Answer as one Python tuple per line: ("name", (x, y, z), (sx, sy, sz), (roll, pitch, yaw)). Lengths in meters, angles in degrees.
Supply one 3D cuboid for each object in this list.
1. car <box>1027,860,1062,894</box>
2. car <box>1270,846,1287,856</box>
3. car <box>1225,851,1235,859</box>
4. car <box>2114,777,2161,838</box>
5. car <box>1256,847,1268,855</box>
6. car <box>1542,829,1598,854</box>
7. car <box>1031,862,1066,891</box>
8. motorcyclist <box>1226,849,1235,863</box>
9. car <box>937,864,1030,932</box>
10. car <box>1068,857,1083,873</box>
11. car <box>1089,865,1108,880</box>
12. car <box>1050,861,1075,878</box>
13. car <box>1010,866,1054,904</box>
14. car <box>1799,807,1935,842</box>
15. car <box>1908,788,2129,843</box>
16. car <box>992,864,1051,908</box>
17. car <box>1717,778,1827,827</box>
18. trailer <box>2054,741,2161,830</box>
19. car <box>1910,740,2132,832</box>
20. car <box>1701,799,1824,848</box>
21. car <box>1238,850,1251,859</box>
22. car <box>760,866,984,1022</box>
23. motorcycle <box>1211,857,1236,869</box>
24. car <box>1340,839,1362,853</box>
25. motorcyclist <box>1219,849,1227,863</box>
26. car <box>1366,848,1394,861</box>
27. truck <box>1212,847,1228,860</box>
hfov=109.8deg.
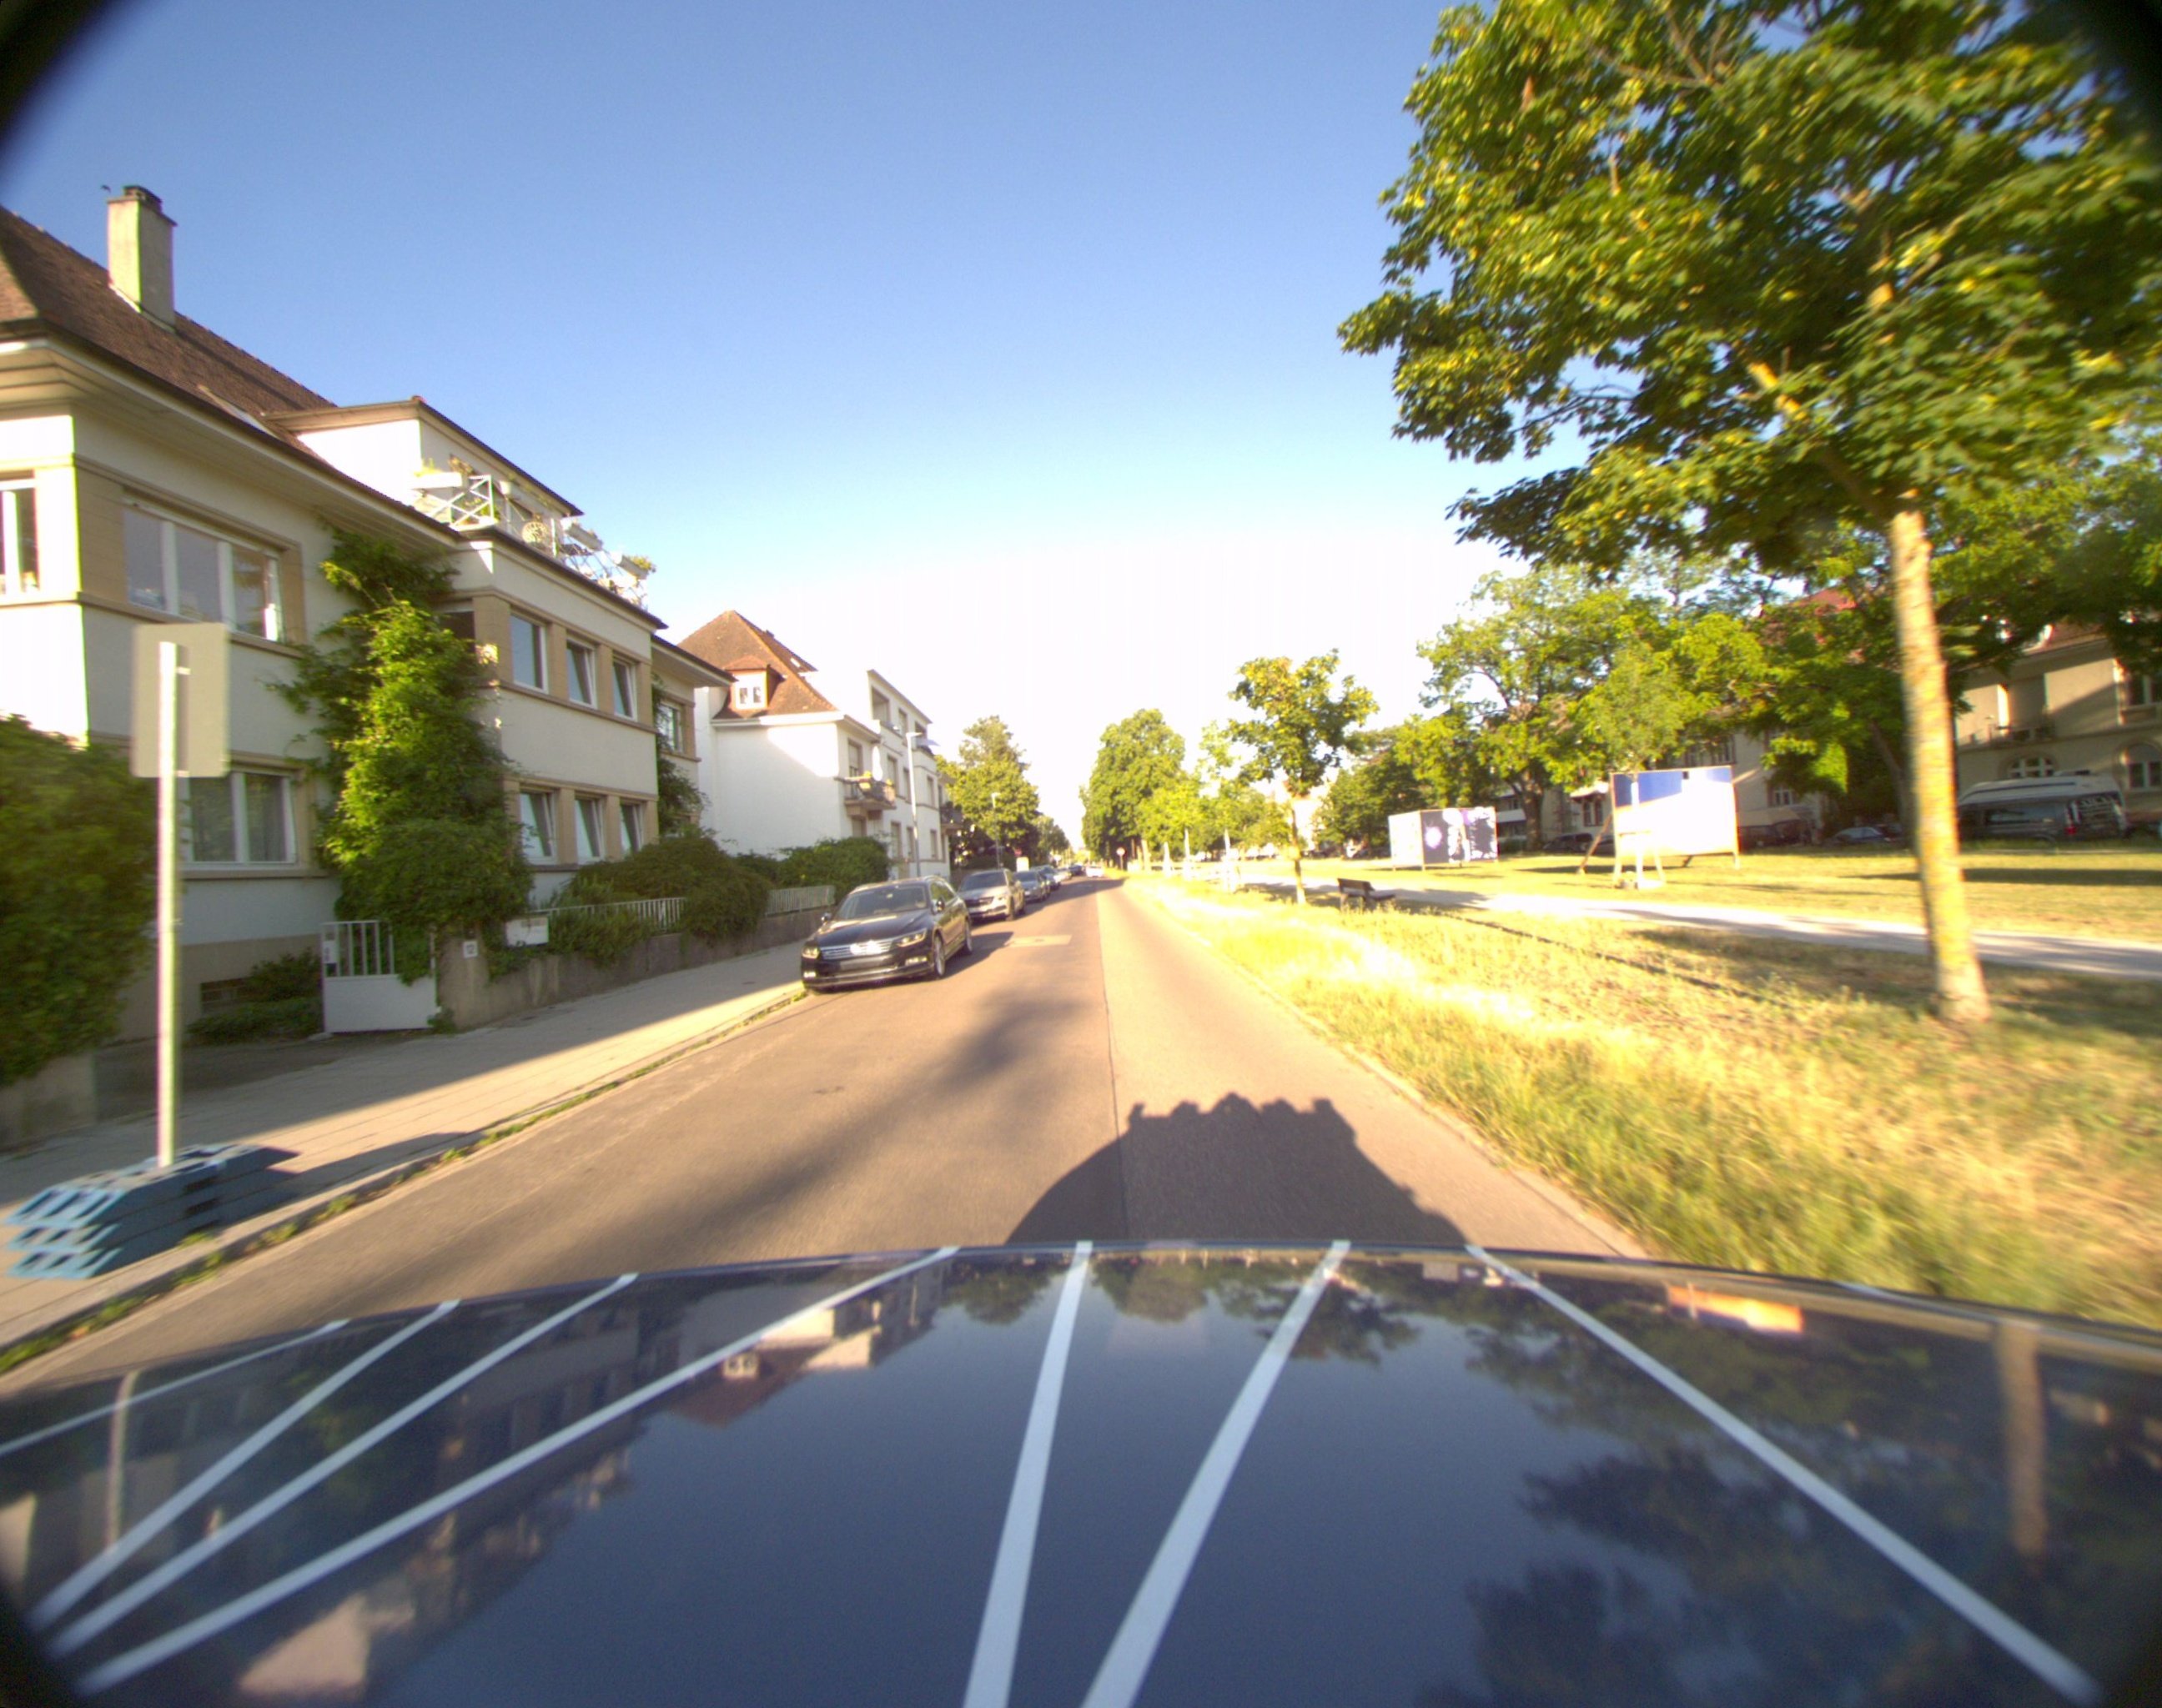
("car", (-2.244, 1.381, 47.602), (1.805, 1.639, 4.583), (-8, 1, 0))
("car", (36.727, -0.514, 141.326), (1.998, 1.692, 4.001), (-3, -1, 1))
("car", (37.729, 0.305, 192.660), (1.998, 2.001, 4.001), (-3, -1, 4))
("car", (39.834, -1.753, 26.539), (1.998, 2.141, 4.001), (-4, 0, 2))
("car", (42.546, -0.698, 178.669), (1.999, 1.834, 3.998), (0, 1, -2))
("car", (40.849, -1.007, 63.584), (1.624, 1.814, 4.288), (-3, -1, -3))
("car", (-2.218, 1.535, 53.443), (1.880, 1.525, 4.589), (-9, 1, 3))
("motorcyclist", (12.997, 0.168, 66.042), (0.575, 1.143, 0.751), (-4, 0, 5))
("car", (-2.815, 1.232, 23.074), (1.888, 1.528, 4.462), (-7, 1, 3))
("car", (-0.774, 1.617, 113.305), (1.998, 2.179, 4.001), (-3, -1, 2))
("car", (1.956, 2.081, 85.989), (1.998, 1.483, 4.001), (-3, -1, 1))
("car", (-1.801, 1.570, 76.698), (2.111, 1.396, 4.133), (-9, -1, 1))
("car", (-2.453, 1.512, 38.716), (1.767, 1.427, 4.302), (-10, 1, 0))
("car", (34.457, -1.251, 33.486), (1.857, 1.308, 4.043), (-5, 0, 4))
("car", (34.462, -1.342, 28.226), (1.999, 1.632, 4.951), (-5, 0, 0))
("car", (-2.532, 1.361, 33.418), (1.916, 1.550, 4.567), (-8, -1, 1))
("car", (40.562, -2.976, 44.798), (1.950, 2.624, 5.044), (0, 1, 1))
("trailer", (34.175, -2.101, 22.374), (2.479, 2.644, 6.635), (0, 1, 0))
("car", (40.201, -2.757, 32.858), (1.998, 3.230, 6.076), (-3, -1, 1))
("car", (34.583, -1.470, 38.748), (1.999, 2.161, 4.571), (-3, -1, -1))
("car", (37.108, 0.042, 172.479), (2.125, 2.002, 3.999), (0, 1, 0))
("car", (-2.950, 1.175, 12.050), (1.999, 1.588, 4.885), (-8, 1, 0))
("motorcycle", (12.404, 0.810, 66.119), (2.108, 0.951, 0.566), (-3, 0, 8))
("car", (42.023, -1.296, 118.294), (1.998, 2.002, 4.001), (-3, 0, 4))
("motorcyclist", (12.333, 0.198, 66.090), (0.575, 1.143, 0.751), (-4, 0, 5))
("car", (35.191, 0.094, 89.531), (1.560, 1.407, 3.642), (-3, -1, -3))
("truck", (38.098, -0.071, 208.290), (2.785, 3.127, 7.711), (-3, -1, 0))
